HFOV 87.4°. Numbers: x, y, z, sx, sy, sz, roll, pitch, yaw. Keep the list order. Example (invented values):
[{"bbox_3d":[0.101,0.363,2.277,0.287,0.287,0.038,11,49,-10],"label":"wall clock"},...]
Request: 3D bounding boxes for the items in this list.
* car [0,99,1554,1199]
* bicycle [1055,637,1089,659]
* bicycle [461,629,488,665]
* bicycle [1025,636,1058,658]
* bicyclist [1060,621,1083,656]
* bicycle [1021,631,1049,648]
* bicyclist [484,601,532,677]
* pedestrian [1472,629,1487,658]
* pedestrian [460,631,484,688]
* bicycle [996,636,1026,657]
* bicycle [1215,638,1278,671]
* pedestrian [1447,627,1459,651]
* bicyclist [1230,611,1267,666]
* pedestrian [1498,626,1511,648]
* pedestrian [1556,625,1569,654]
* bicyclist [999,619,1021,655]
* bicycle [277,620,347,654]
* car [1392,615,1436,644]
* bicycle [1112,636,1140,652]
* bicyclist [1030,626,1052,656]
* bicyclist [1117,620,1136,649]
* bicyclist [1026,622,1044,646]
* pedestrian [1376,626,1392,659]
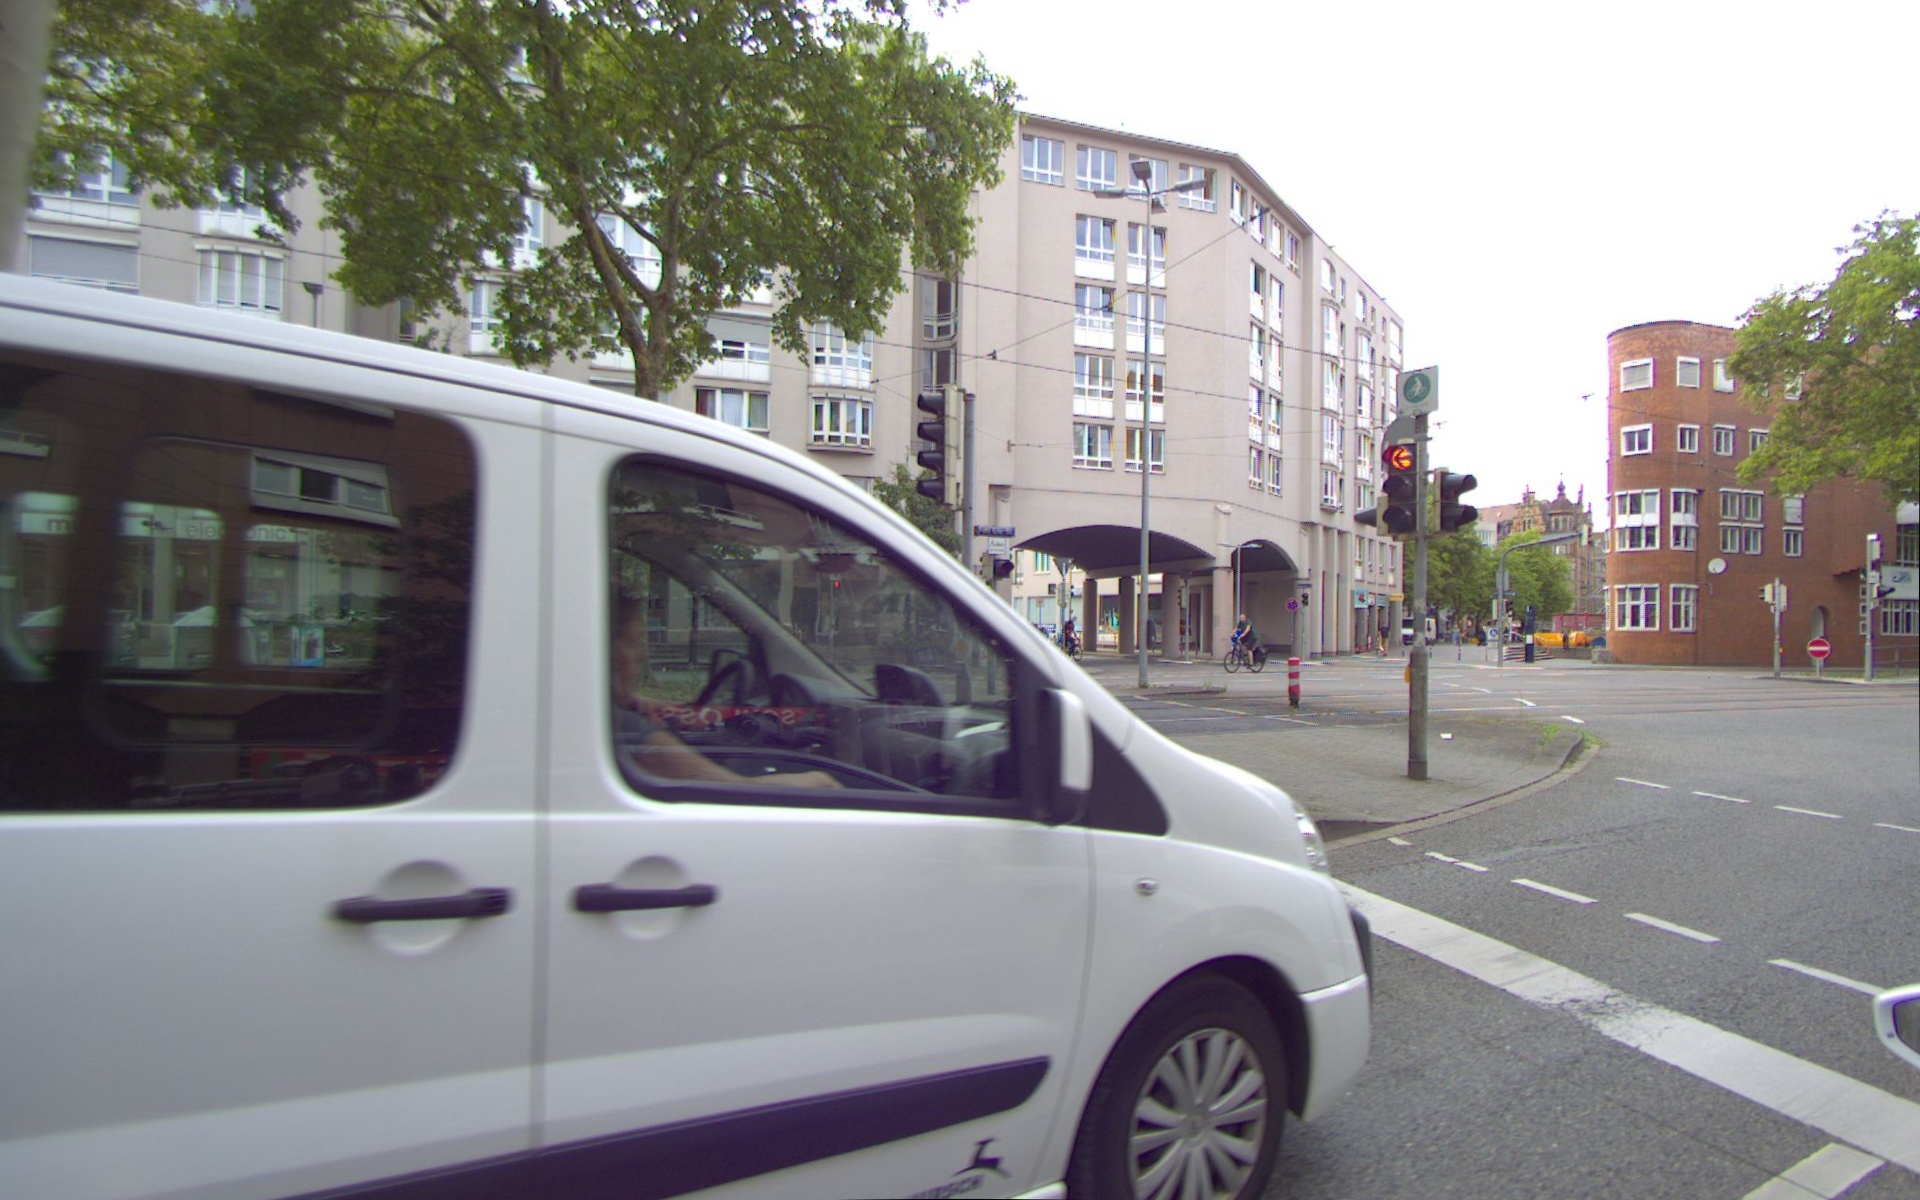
[{"bbox_3d":[-0.995,0.444,2.270,4.897,1.951,1.922,1,-1,-30],"label":"car"},{"bbox_3d":[5.024,2.132,45.085,0.753,0.923,2.180,1,-1,-16],"label":"bicycle"},{"bbox_3d":[-13.443,1.292,27.836,0.433,0.956,1.627,1,-1,-17],"label":"bicycle"},{"bbox_3d":[3.633,2.118,45.130,0.753,0.923,2.180,1,-1,-16],"label":"bicycle"},{"bbox_3d":[5.012,1.725,45.165,0.755,1.559,0.880,1,-1,-16],"label":"bicyclist"},{"bbox_3d":[4.912,2.583,65.837,0.706,1.062,2.086,2,-1,-35],"label":"bicycle"},{"bbox_3d":[-10.281,0.884,22.843,0.940,1.695,0.687,1,-1,-26],"label":"bicyclist"},{"bbox_3d":[35.275,2.942,68.241,0.779,1.989,0.803,0,-1,36],"label":"pedestrian"},{"bbox_3d":[-13.468,1.637,27.722,0.527,1.550,0.511,1,-1,-29],"label":"pedestrian"},{"bbox_3d":[2.333,2.133,46.209,0.753,0.923,2.180,1,-1,-16],"label":"bicycle"},{"bbox_3d":[9.813,1.843,34.335,2.180,1.107,0.675,1,-2,-26],"label":"bicycle"},{"bbox_3d":[35.105,2.789,71.530,0.683,1.693,0.829,0,-1,34],"label":"pedestrian"},{"bbox_3d":[9.864,1.320,34.366,1.067,1.872,0.665,1,-2,-26],"label":"bicyclist"},{"bbox_3d":[49.705,3.381,91.684,0.852,2.040,1.339,0,-1,36],"label":"pedestrian"},{"bbox_3d":[39.064,2.538,65.073,0.683,1.841,0.654,0,-1,34],"label":"pedestrian"},{"bbox_3d":[2.318,1.680,46.302,0.755,1.635,0.880,1,-1,-16],"label":"bicyclist"},{"bbox_3d":[-18.703,1.074,29.021,1.609,0.956,0.438,2,-1,-23],"label":"bicycle"},{"bbox_3d":[32.171,2.071,71.080,1.967,1.962,4.930,0,-2,35],"label":"car"},{"bbox_3d":[9.191,2.448,55.637,0.570,0.847,1.978,1,-1,-21],"label":"bicycle"},{"bbox_3d":[3.637,1.818,45.144,0.755,1.321,0.880,1,-1,-16],"label":"bicyclist"},{"bbox_3d":[9.218,1.890,55.544,0.574,1.583,1.029,1,-1,-21],"label":"bicyclist"},{"bbox_3d":[4.927,2.232,65.825,0.698,1.545,0.938,1,-1,-35],"label":"bicyclist"},{"bbox_3d":[22.354,2.236,52.998,0.664,1.702,0.751,0,-1,33],"label":"pedestrian"}]
